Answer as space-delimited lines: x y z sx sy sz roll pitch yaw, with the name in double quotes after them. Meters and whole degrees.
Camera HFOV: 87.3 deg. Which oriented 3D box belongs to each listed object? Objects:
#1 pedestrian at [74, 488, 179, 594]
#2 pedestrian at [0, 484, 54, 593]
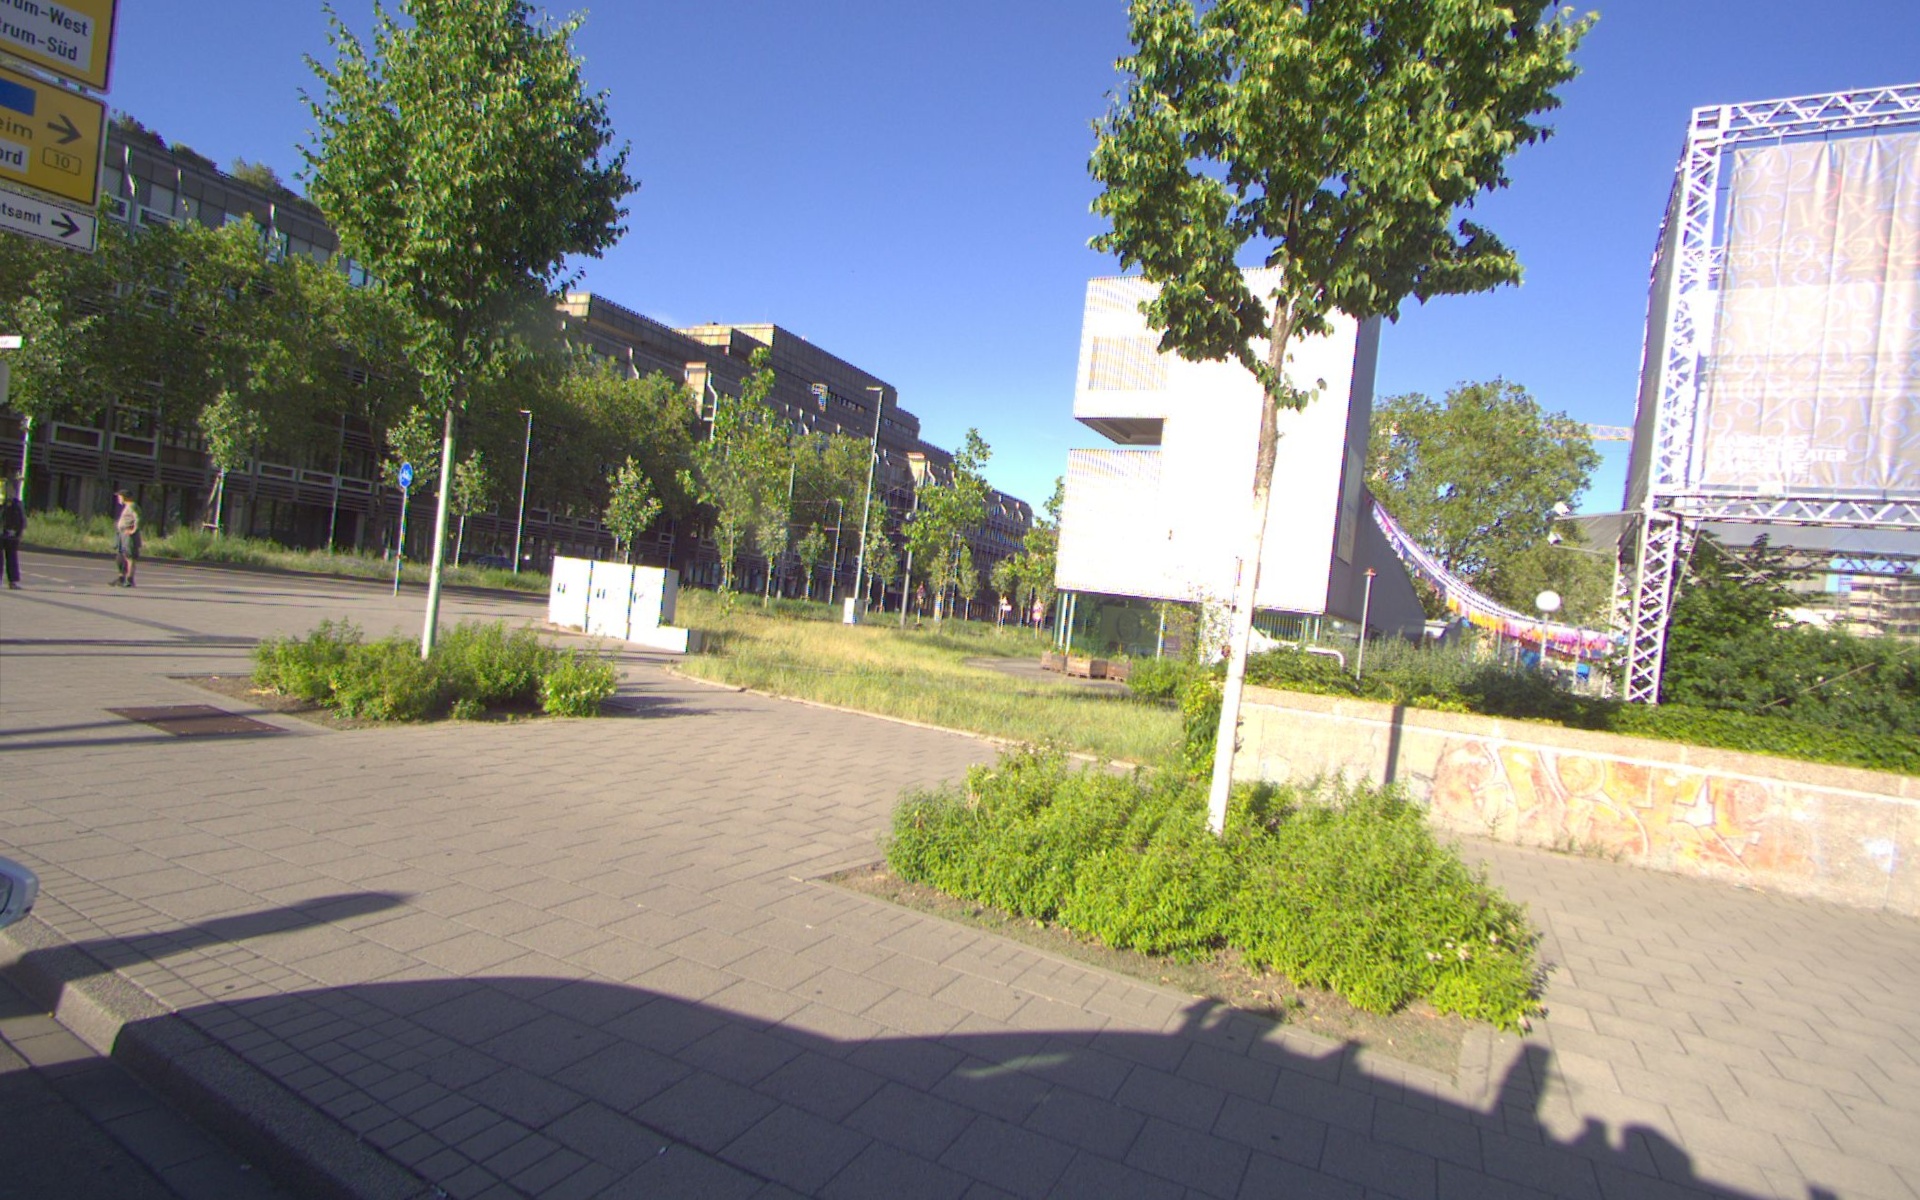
-14.889 -1.036 17.983 0.946 1.684 0.882 7 -1 11 "pedestrian"
-14.038 -0.921 14.785 0.633 1.510 0.789 6 -1 31 "pedestrian"
